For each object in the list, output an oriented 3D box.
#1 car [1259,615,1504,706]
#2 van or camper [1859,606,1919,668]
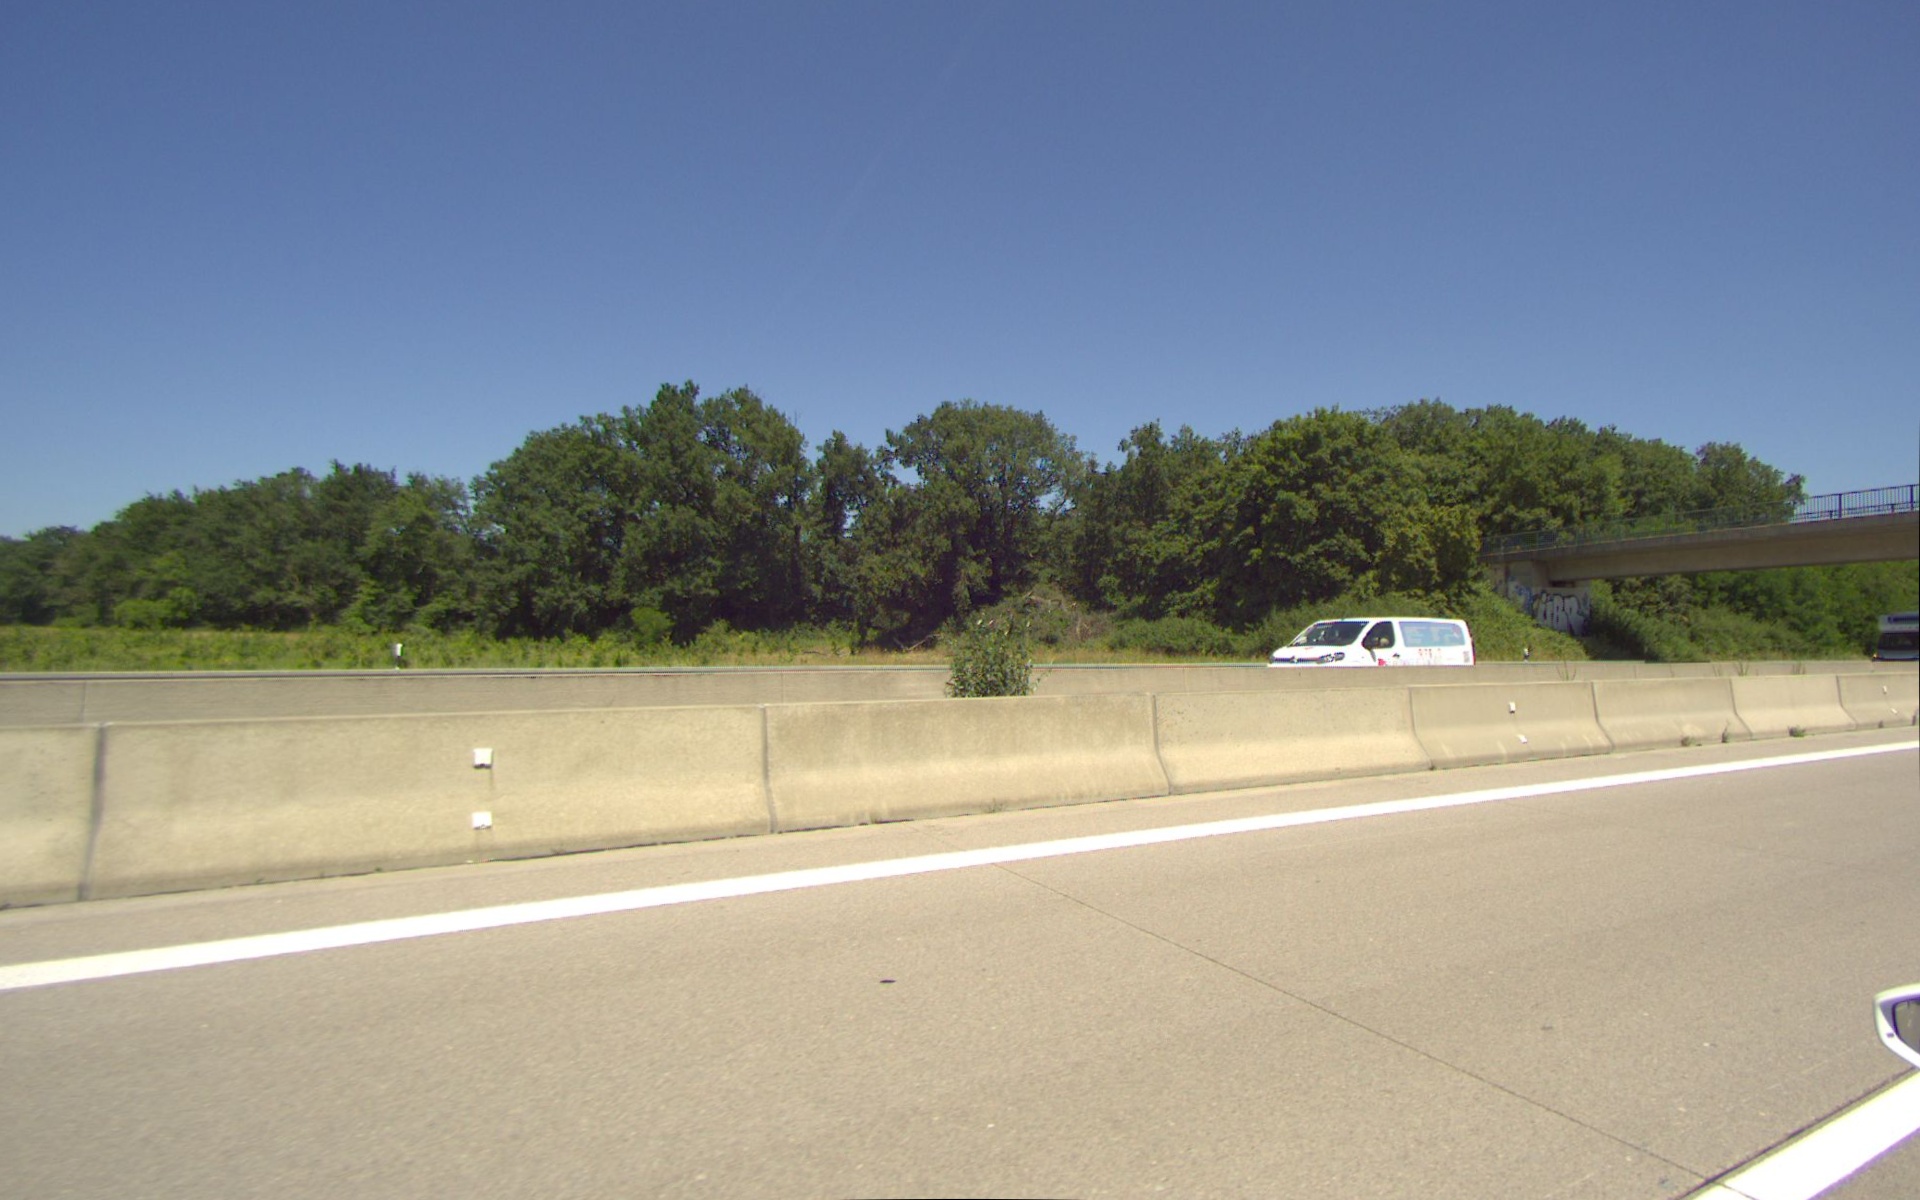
[{"bbox_3d":[9.149,1.253,21.607,5.725,1.741,1.817,2,-1,-31],"label":"car"},{"bbox_3d":[41.720,1.609,43.252,7.712,2.476,2.237,2,0,-31],"label":"van or camper"}]
